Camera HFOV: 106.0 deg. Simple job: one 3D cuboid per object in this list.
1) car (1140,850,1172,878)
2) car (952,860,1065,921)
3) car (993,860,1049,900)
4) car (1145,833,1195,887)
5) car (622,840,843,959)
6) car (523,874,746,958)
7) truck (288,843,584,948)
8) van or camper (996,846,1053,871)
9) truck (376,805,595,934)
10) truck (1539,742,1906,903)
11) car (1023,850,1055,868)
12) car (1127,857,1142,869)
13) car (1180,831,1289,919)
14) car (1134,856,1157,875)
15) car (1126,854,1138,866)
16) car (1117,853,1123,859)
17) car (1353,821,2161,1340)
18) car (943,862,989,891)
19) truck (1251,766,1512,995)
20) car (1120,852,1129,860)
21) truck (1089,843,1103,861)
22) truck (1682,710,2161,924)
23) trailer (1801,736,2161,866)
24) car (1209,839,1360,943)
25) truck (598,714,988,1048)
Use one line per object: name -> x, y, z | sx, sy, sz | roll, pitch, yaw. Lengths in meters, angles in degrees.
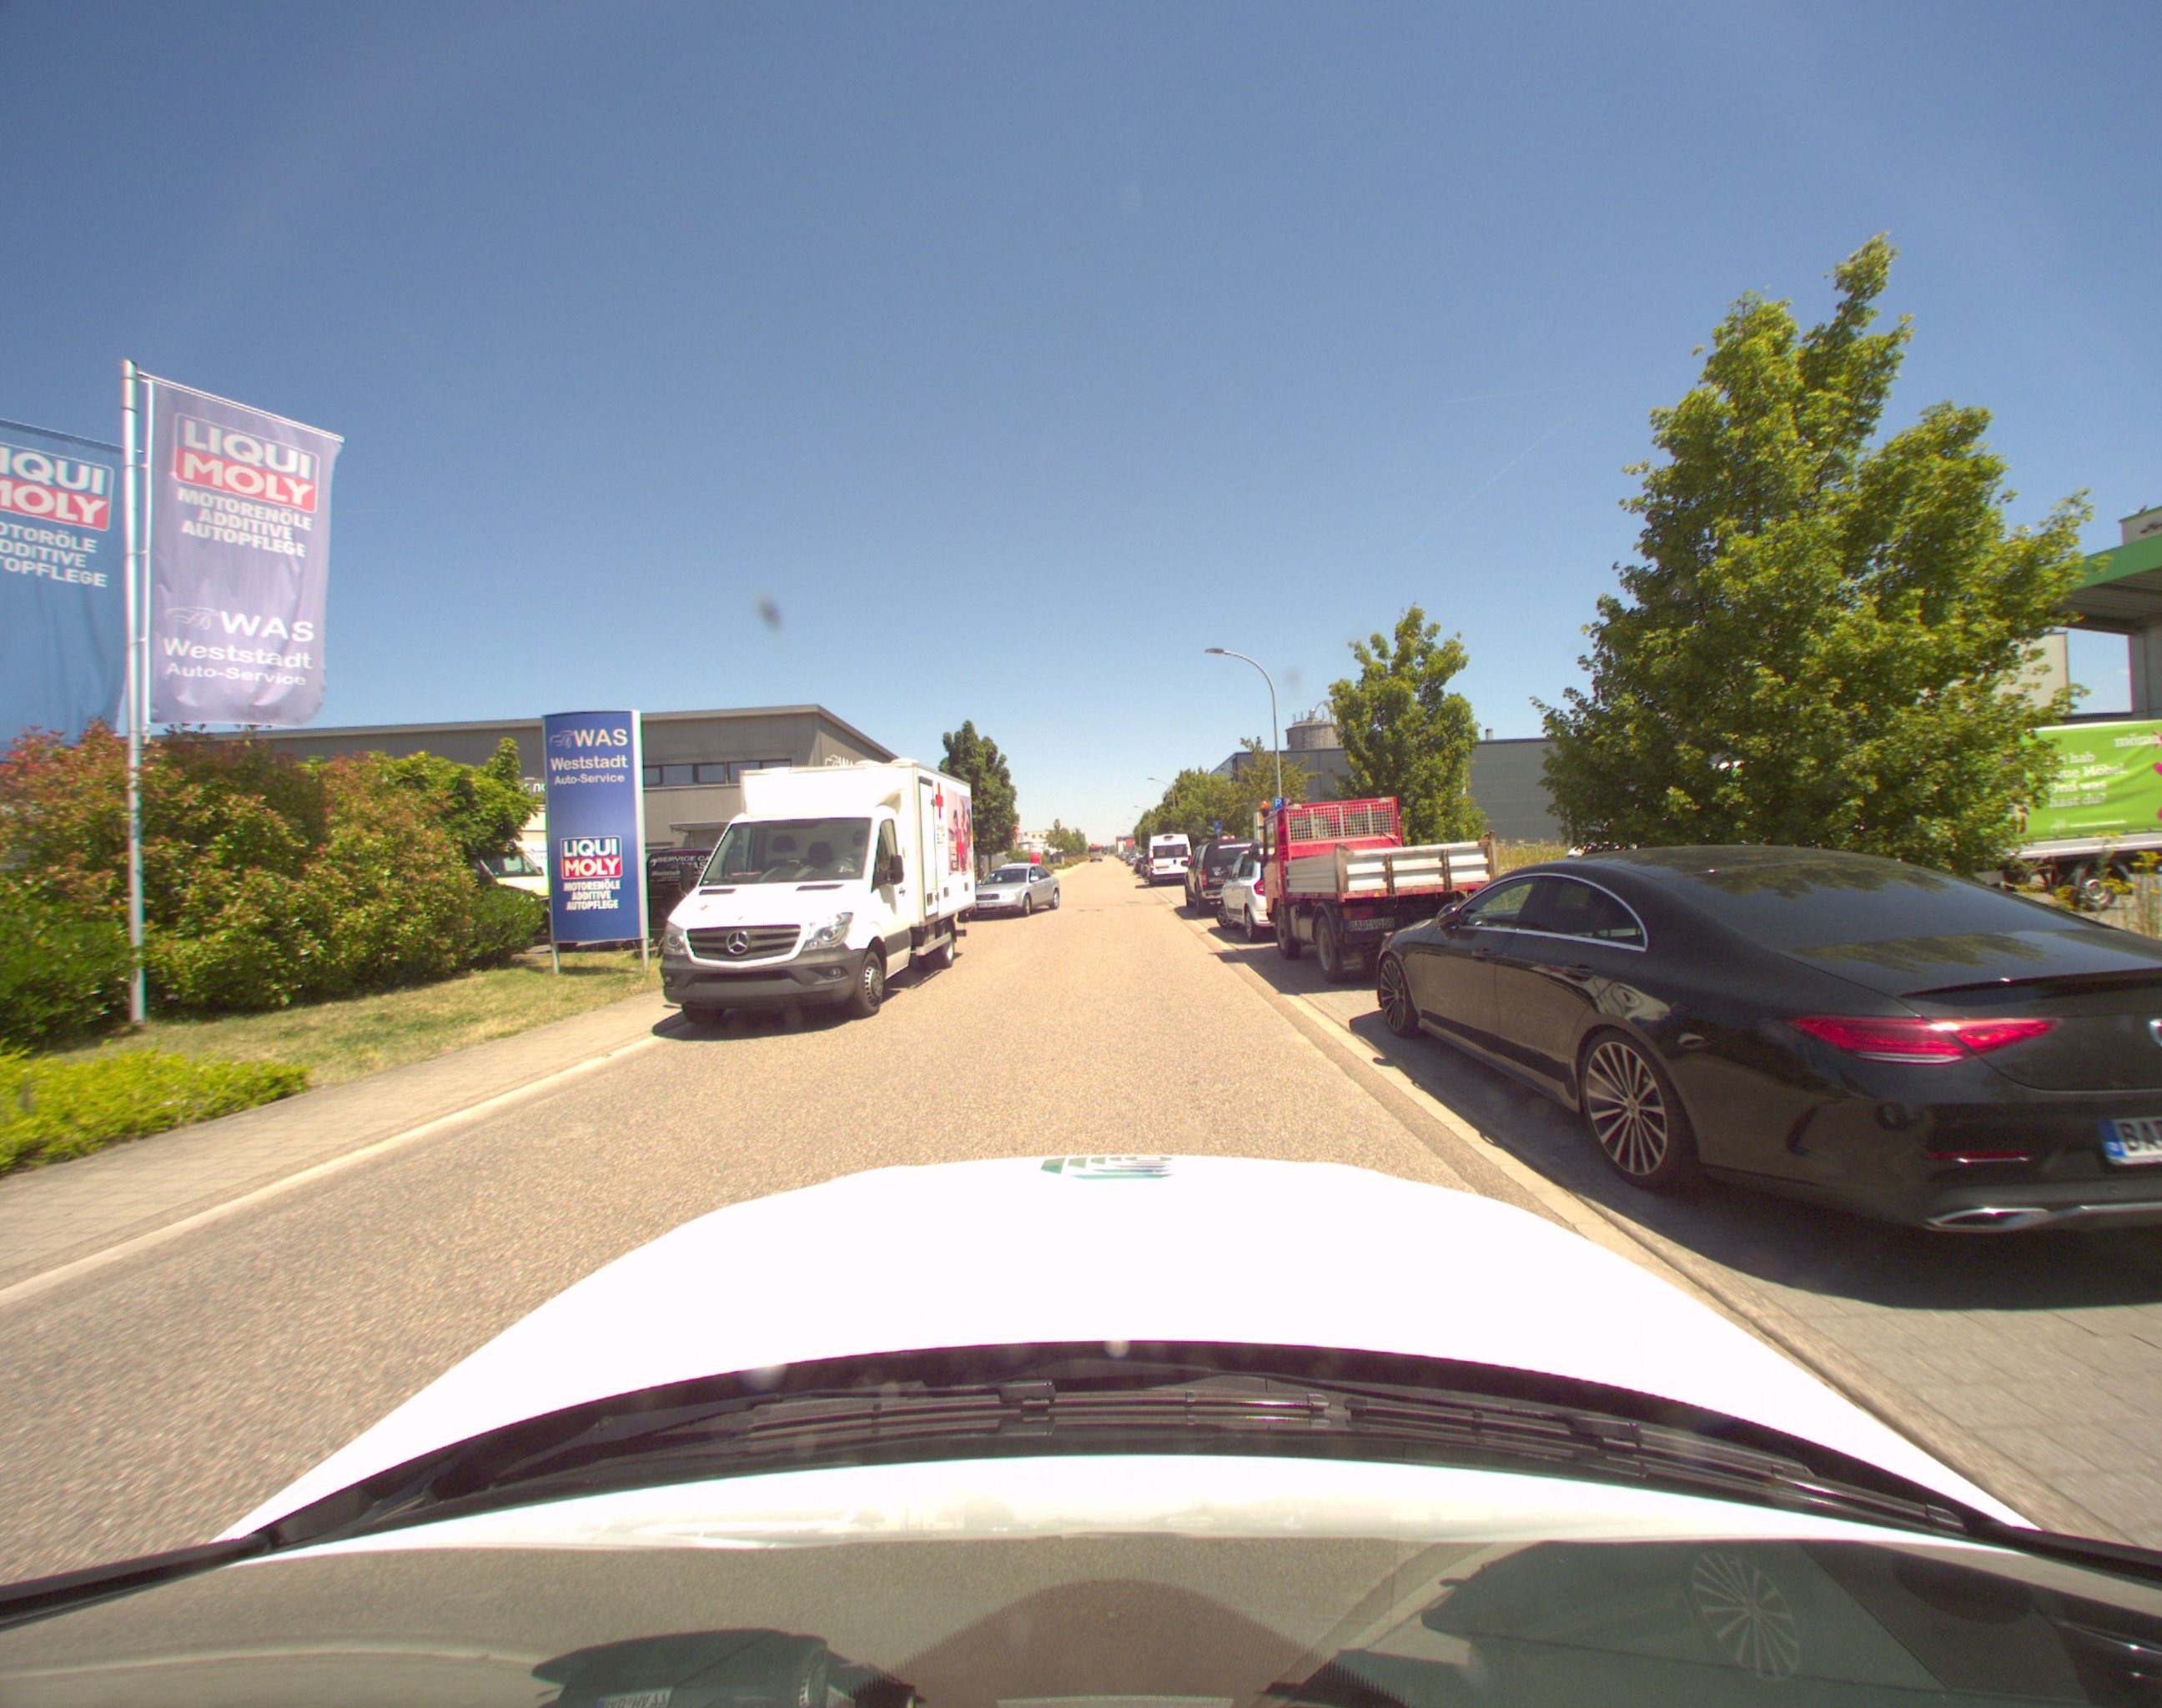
car -> 5.381, 0.732, 59.186 | 1.986, 1.825, 4.355 | -3, -1, 2
car -> -1.974, 1.002, 23.708 | 1.770, 1.422, 4.431 | -5, -1, 15
car -> -2.358, 1.009, 32.927 | 1.723, 1.458, 4.493 | -2, -1, 2
car -> 4.512, 0.299, 42.212 | 2.257, 2.497, 6.158 | -3, 0, 4
car -> -6.670, 0.792, 16.405 | 1.986, 1.956, 5.220 | -2, -1, 2
car -> -9.045, 1.176, 17.089 | 1.924, 1.416, 4.771 | -1, 0, 2
truck -> -16.620, 1.033, 21.219 | 5.933, 2.462, 2.166 | -1, 0, 1
van or camper -> -7.642, 0.563, 110.714 | 7.358, 3.037, 2.791 | -3, 0, 1
truck -> -18.881, 0.489, 25.640 | 7.960, 3.557, 2.603 | -1, 0, 31
truck -> 13.449, -0.618, 17.420 | 5.801, 2.913, 2.415 | -3, -1, 1
car -> -6.522, 0.738, 127.029 | 4.703, 2.586, 1.998 | -3, 0, -2
car -> 7.085, 1.141, 108.372 | 1.711, 1.450, 3.647 | -3, 0, 2
car -> 3.824, 0.492, 21.216 | 1.986, 1.884, 5.158 | -4, 0, 2
car -> 5.681, 1.017, 71.532 | 1.700, 1.504, 4.715 | -3, -1, 7
car -> 7.967, 0.893, 126.374 | 1.715, 1.694, 3.987 | -3, 0, 3
car -> 10.447, 0.481, 220.180 | 1.489, 1.409, 3.502 | -3, 0, 2
car -> 3.187, 0.644, 4.733 | 1.691, 1.383, 4.840 | -4, 0, 2
car -> -7.959, 1.523, 56.752 | 1.984, 1.735, 4.921 | -1, 1, 6
truck -> 3.479, 0.275, 10.397 | 1.673, 2.181, 4.392 | -4, -1, 2
car -> 8.293, 0.308, 155.555 | 1.579, 1.409, 3.502 | -3, 0, 2
truck -> 3.100, -0.386, 166.623 | 2.439, 3.513, 8.276 | -4, 0, 2
truck -> 13.538, -0.560, 13.150 | 5.885, 2.872, 2.305 | -3, -1, -1
trailer -> 32.716, -1.786, 28.246 | 12.569, 3.875, 2.805 | -3, -1, 2
car -> 3.571, 0.611, 15.045 | 1.732, 1.530, 4.000 | -4, 0, 0
truck -> -2.998, 0.268, 10.618 | 2.352, 2.860, 6.419 | -5, -1, 2
